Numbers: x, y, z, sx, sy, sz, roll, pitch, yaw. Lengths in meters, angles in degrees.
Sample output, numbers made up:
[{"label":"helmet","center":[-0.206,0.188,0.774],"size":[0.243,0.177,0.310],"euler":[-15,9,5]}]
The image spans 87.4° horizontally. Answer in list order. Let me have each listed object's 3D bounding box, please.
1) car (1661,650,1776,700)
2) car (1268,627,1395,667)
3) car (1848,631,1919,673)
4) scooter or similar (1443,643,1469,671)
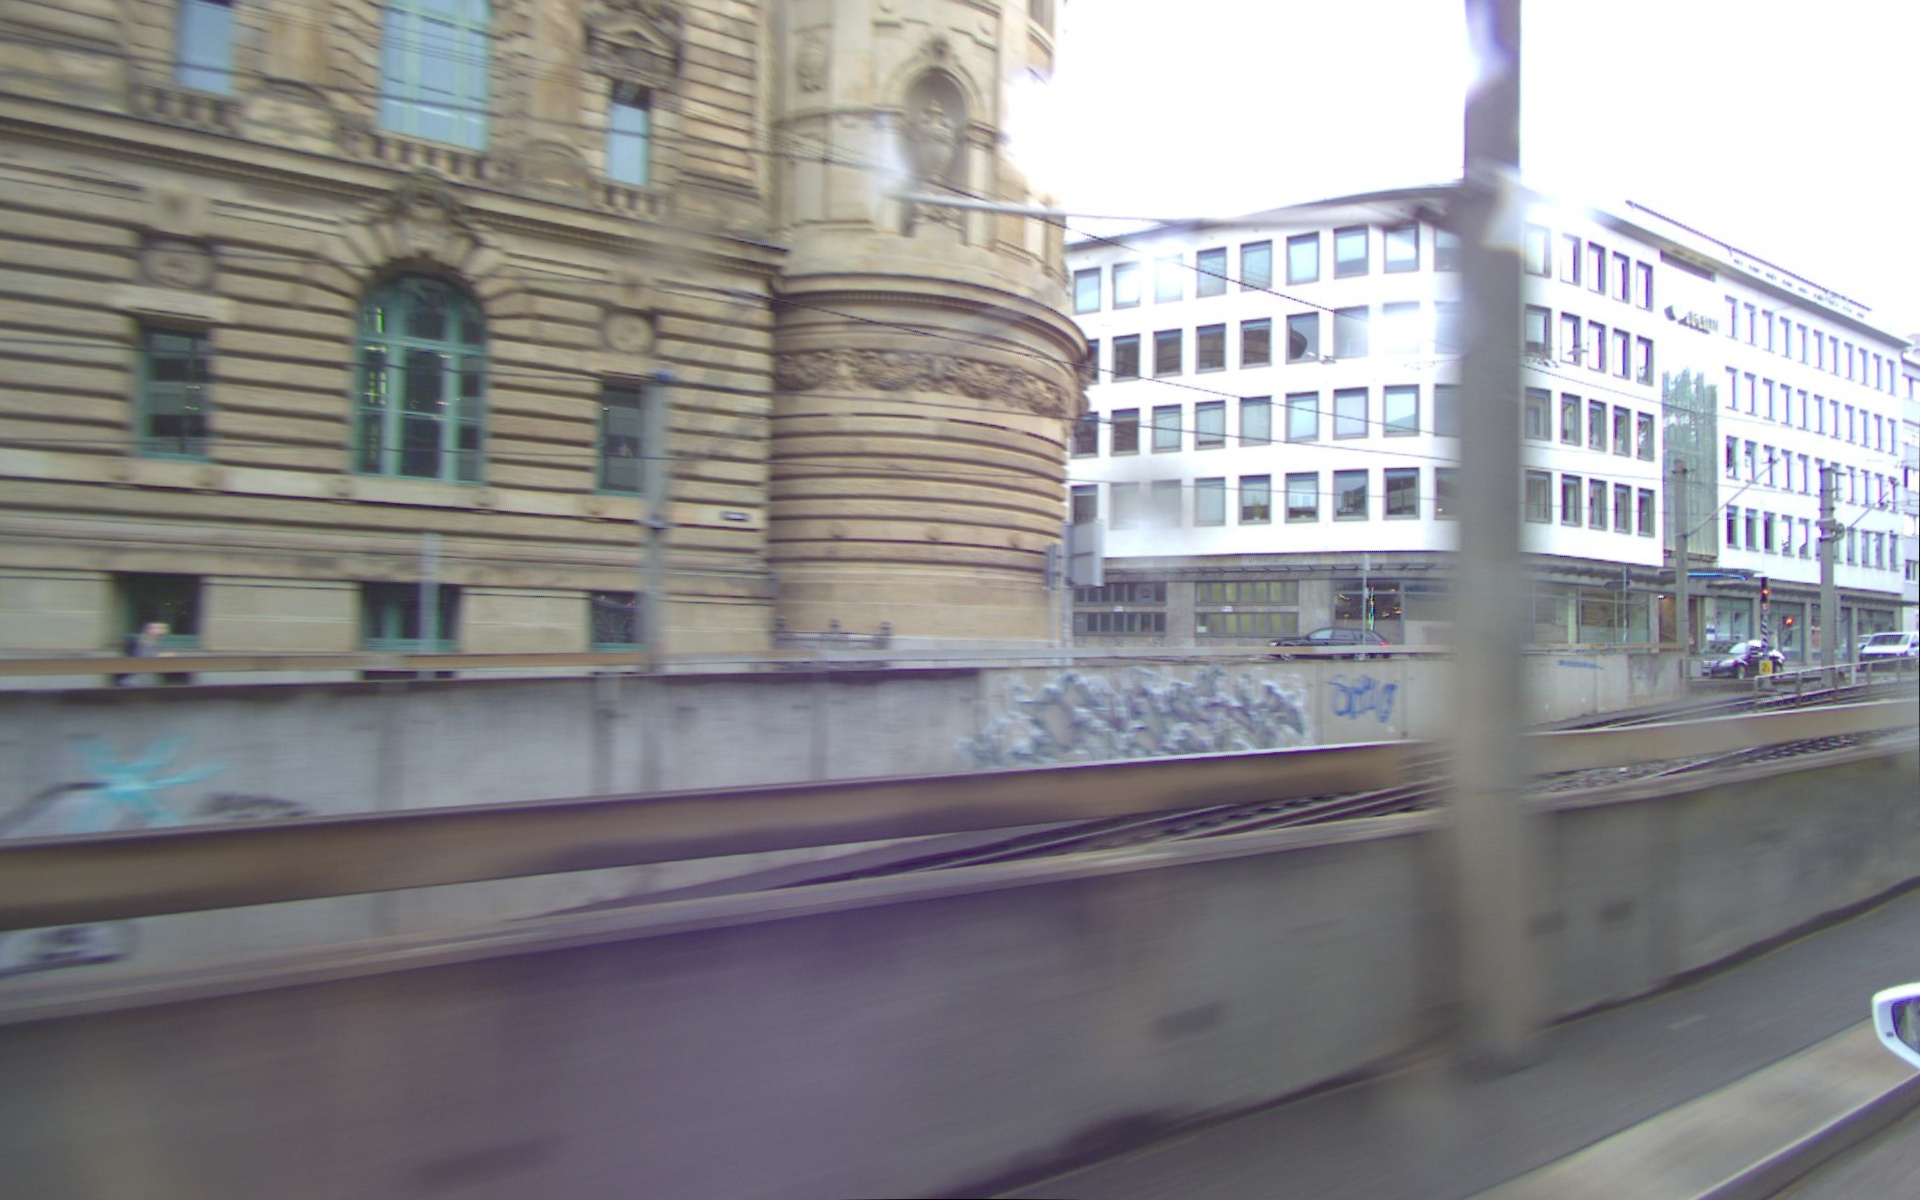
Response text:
[{"label":"car","center":[26.014,2.535,34.433],"size":[3.621,1.548,1.983],"euler":[1,-1,-32]},{"label":"car","center":[14.999,1.926,40.548],"size":[4.689,1.541,1.675],"euler":[-2,-4,24]},{"label":"car","center":[45.700,2.518,49.187],"size":[4.871,1.908,1.983],"euler":[1,-1,-32]},{"label":"scooter or similar","center":[19.840,2.279,40.206],"size":[0.539,1.058,0.821],"euler":[1,-1,-16]}]
